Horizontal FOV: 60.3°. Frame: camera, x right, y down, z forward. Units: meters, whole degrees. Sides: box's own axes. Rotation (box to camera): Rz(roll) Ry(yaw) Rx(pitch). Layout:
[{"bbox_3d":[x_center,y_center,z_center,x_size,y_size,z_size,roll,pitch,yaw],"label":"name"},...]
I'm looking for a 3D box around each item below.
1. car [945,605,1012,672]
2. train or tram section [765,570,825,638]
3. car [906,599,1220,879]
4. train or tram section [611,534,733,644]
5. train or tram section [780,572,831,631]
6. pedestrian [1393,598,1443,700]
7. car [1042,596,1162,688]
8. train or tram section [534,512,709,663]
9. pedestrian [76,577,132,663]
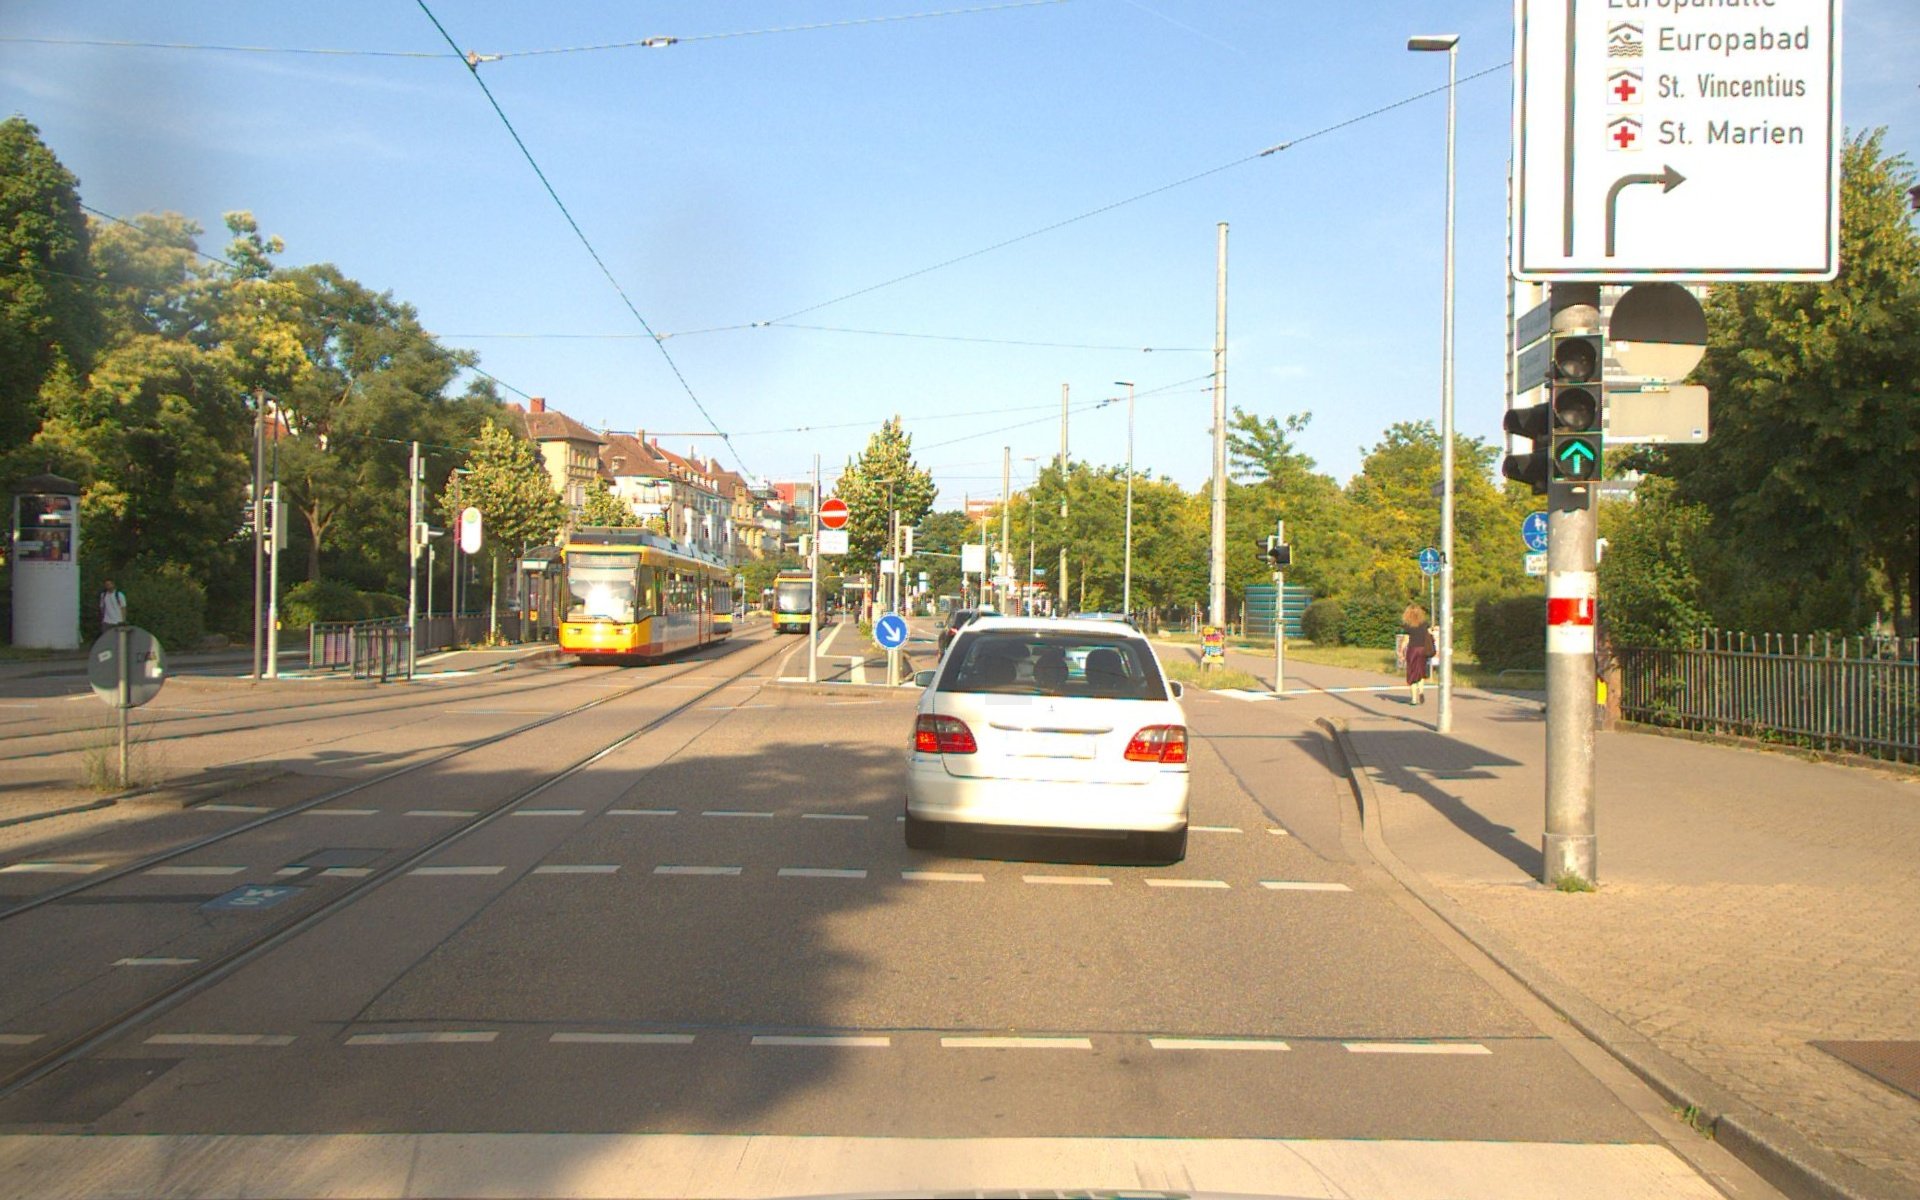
[{"bbox_3d":[0.517,1.045,46.136,1.750,1.719,4.000,2,0,0],"label":"car"},{"bbox_3d":[-9.397,0.184,95.510,2.793,3.540,13.190,2,0,-4],"label":"train or tram section"},{"bbox_3d":[0.521,0.779,11.154,1.723,1.530,3.999,1,0,-2],"label":"car"},{"bbox_3d":[-10.457,-0.387,61.529,3.100,3.540,14.457,2,0,-5],"label":"train or tram section"},{"bbox_3d":[-10.043,0.055,108.434,2.793,3.540,13.190,2,0,-4],"label":"train or tram section"},{"bbox_3d":[7.944,0.845,28.705,0.602,1.721,0.548,-4,0,0],"label":"pedestrian"},{"bbox_3d":[2.728,0.772,32.586,1.991,1.633,4.000,2,0,0],"label":"car"},{"bbox_3d":[-9.241,-0.330,47.109,3.100,3.540,14.517,2,0,-5],"label":"train or tram section"},{"bbox_3d":[-19.824,0.458,38.323,0.986,1.943,0.705,2,0,-17],"label":"pedestrian"}]
